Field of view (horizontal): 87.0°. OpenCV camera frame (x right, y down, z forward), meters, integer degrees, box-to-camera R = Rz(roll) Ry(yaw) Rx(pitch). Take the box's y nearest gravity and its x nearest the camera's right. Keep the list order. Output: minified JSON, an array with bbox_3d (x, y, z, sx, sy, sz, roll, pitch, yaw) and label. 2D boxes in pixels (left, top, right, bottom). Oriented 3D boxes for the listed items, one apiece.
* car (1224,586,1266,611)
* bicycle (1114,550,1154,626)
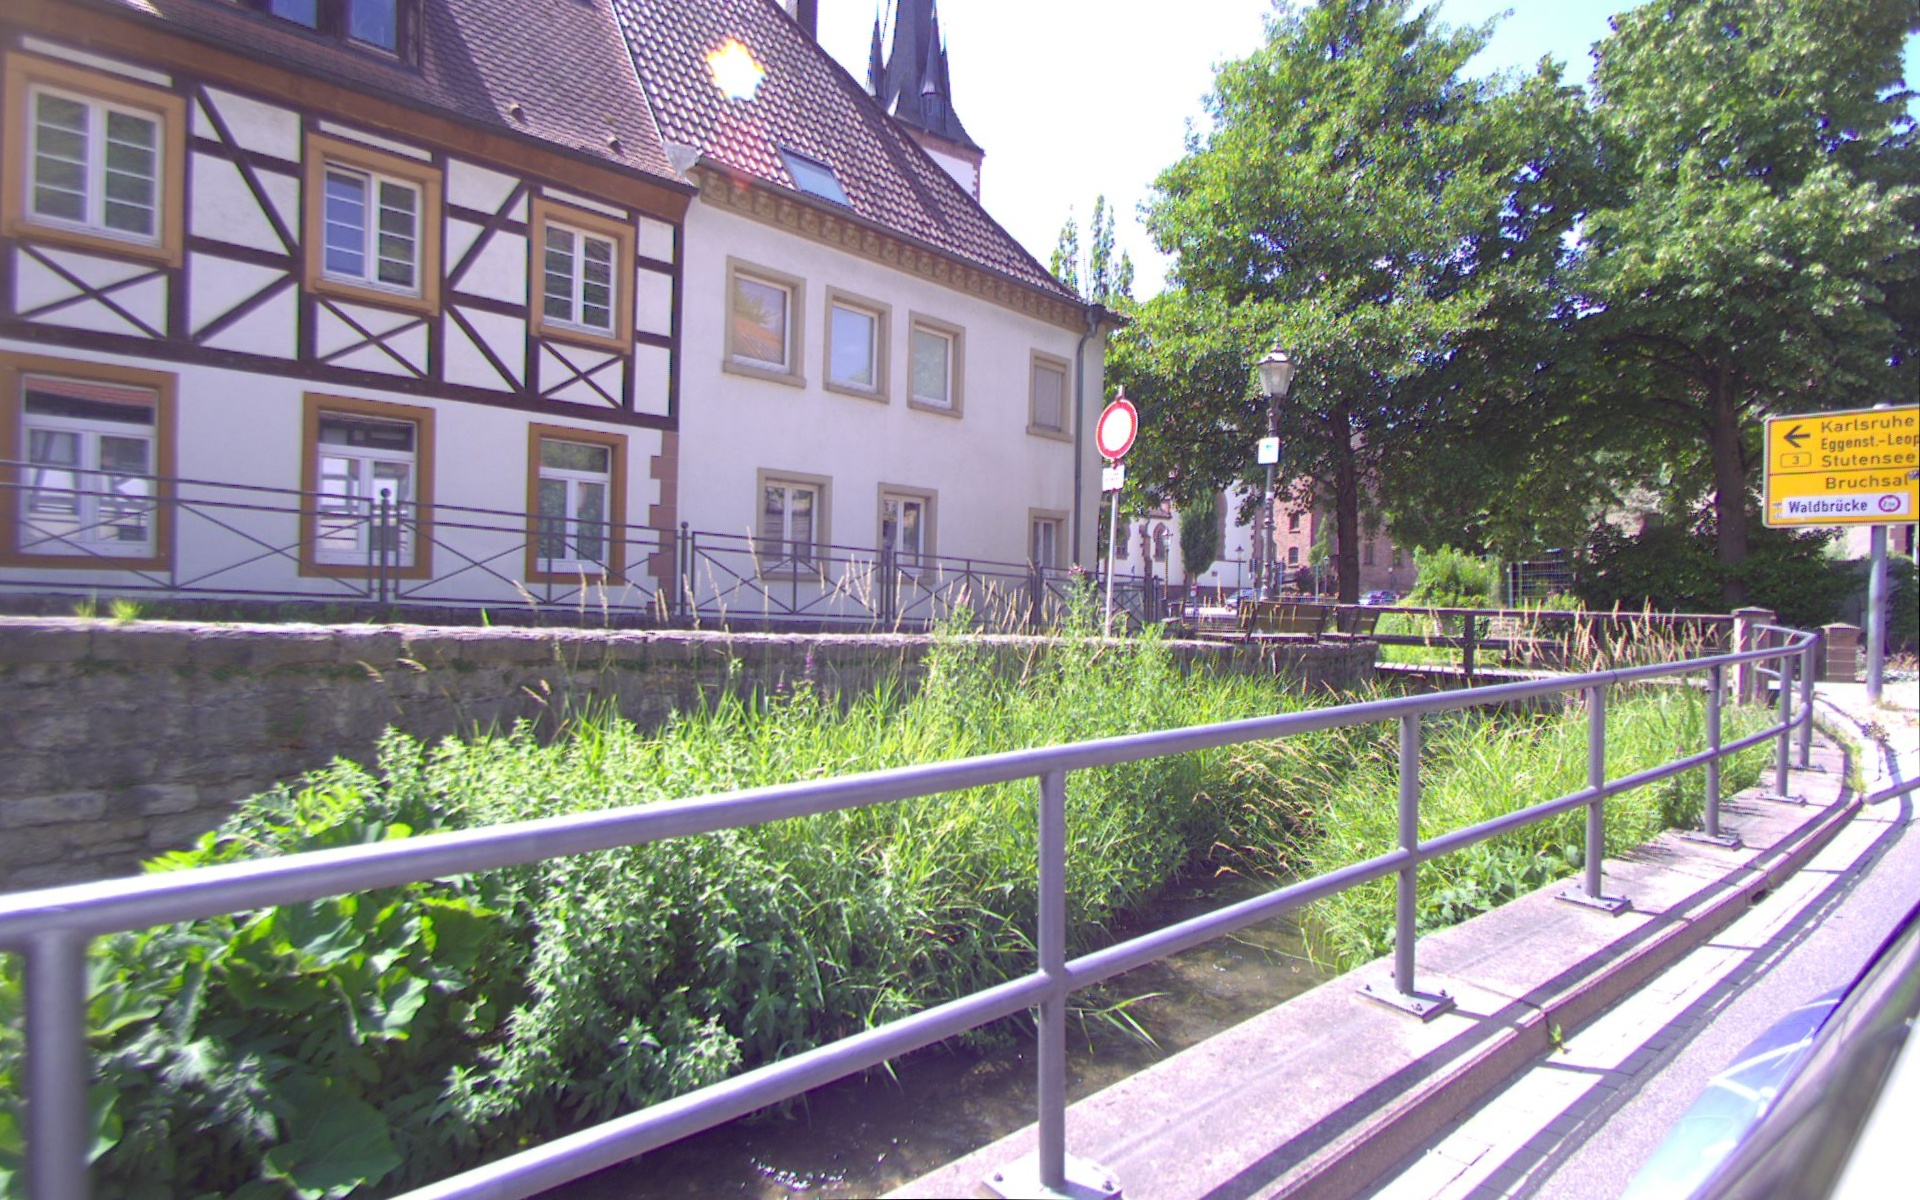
[{"bbox_3d":[18.317,-0.119,64.988,1.658,1.523,3.767,1,1,32],"label":"car"},{"bbox_3d":[5.008,-0.341,28.978,0.772,2.039,2.653,-2,0,16],"label":"bicycle"}]
